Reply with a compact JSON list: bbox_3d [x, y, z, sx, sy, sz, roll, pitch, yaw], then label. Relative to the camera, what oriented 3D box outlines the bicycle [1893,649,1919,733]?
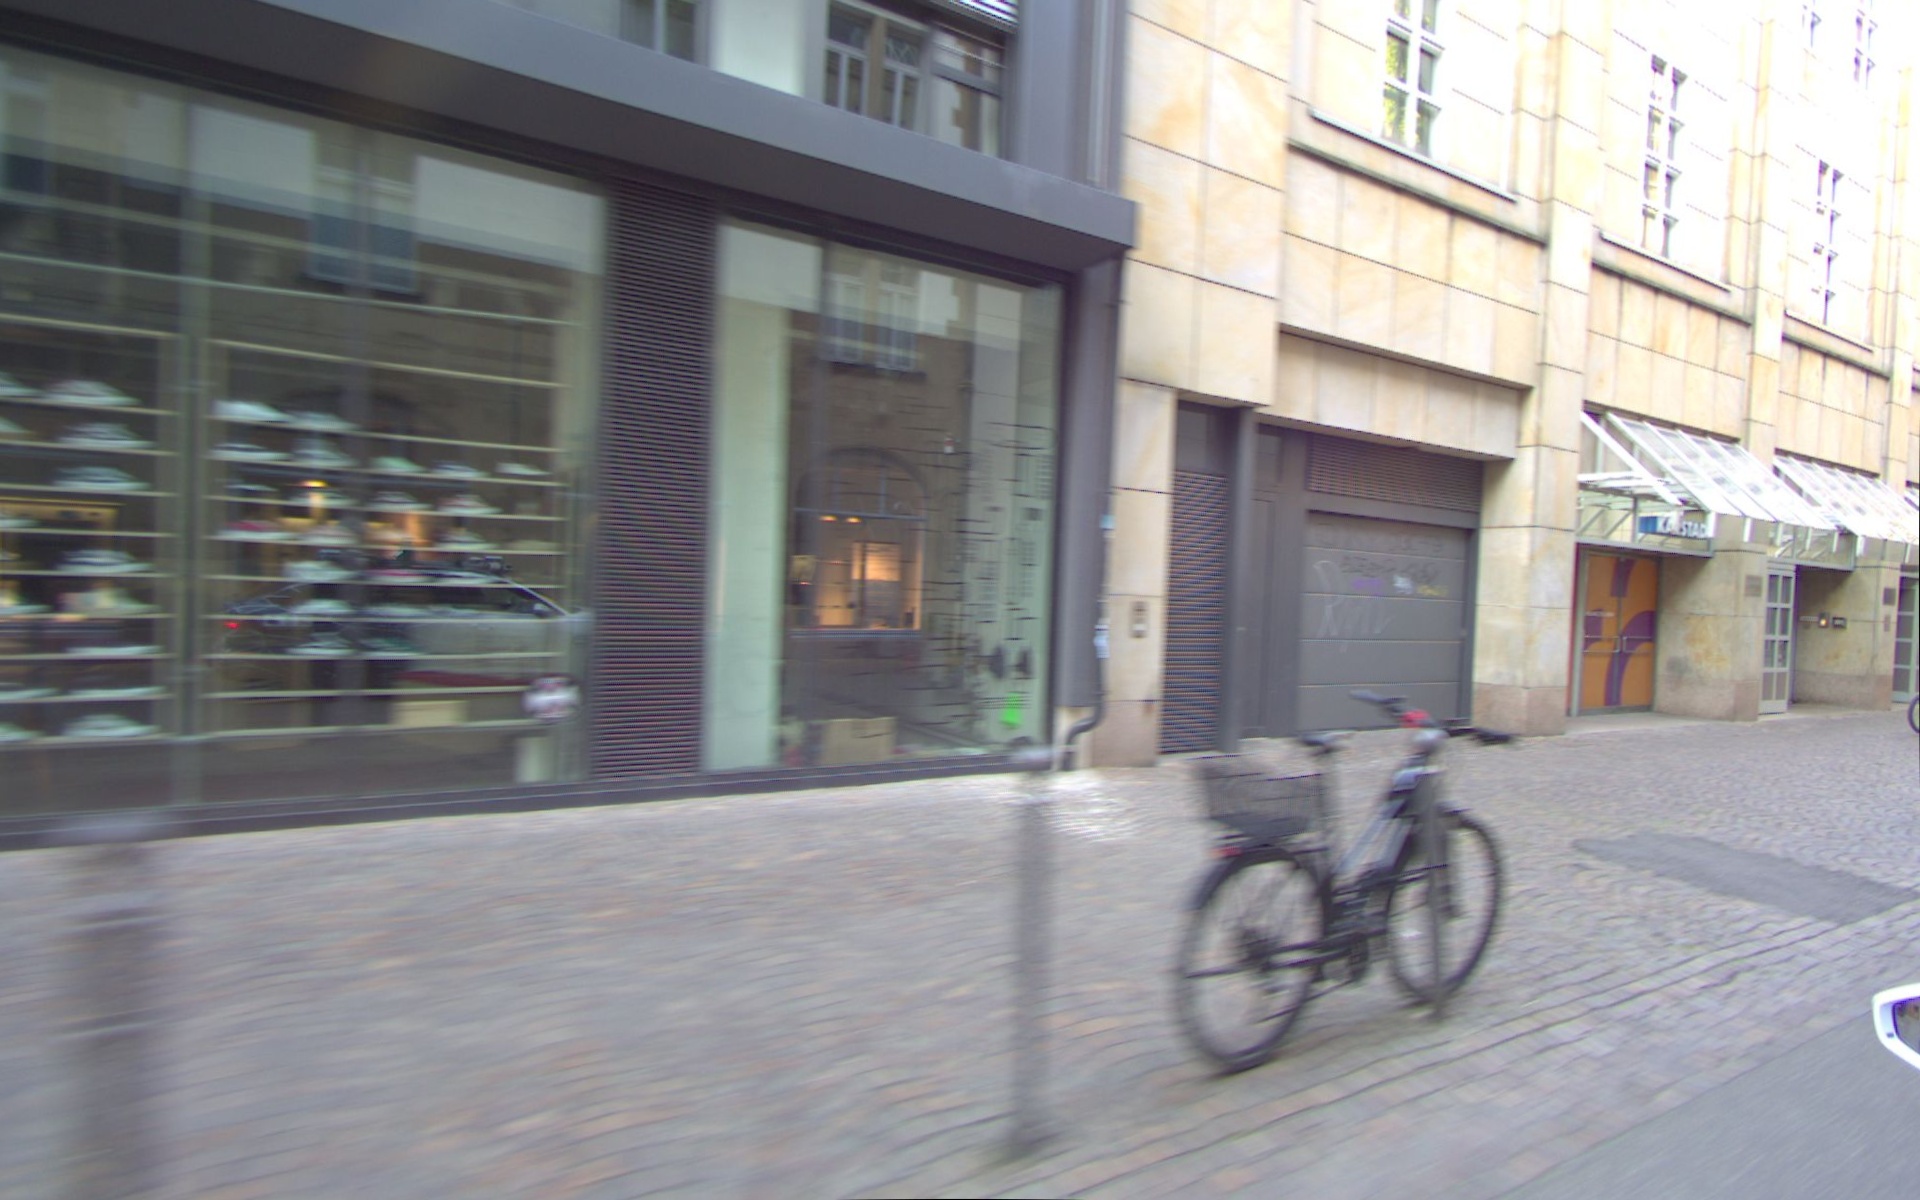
[{"bbox_3d":[13.919,1.273,13.877,1.748,1.127,0.693,2,1,-17],"label":"bicycle"}]

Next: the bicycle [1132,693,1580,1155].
[{"bbox_3d":[1.438,0.944,3.434,1.912,1.147,0.407,1,2,-35],"label":"bicycle"}]
